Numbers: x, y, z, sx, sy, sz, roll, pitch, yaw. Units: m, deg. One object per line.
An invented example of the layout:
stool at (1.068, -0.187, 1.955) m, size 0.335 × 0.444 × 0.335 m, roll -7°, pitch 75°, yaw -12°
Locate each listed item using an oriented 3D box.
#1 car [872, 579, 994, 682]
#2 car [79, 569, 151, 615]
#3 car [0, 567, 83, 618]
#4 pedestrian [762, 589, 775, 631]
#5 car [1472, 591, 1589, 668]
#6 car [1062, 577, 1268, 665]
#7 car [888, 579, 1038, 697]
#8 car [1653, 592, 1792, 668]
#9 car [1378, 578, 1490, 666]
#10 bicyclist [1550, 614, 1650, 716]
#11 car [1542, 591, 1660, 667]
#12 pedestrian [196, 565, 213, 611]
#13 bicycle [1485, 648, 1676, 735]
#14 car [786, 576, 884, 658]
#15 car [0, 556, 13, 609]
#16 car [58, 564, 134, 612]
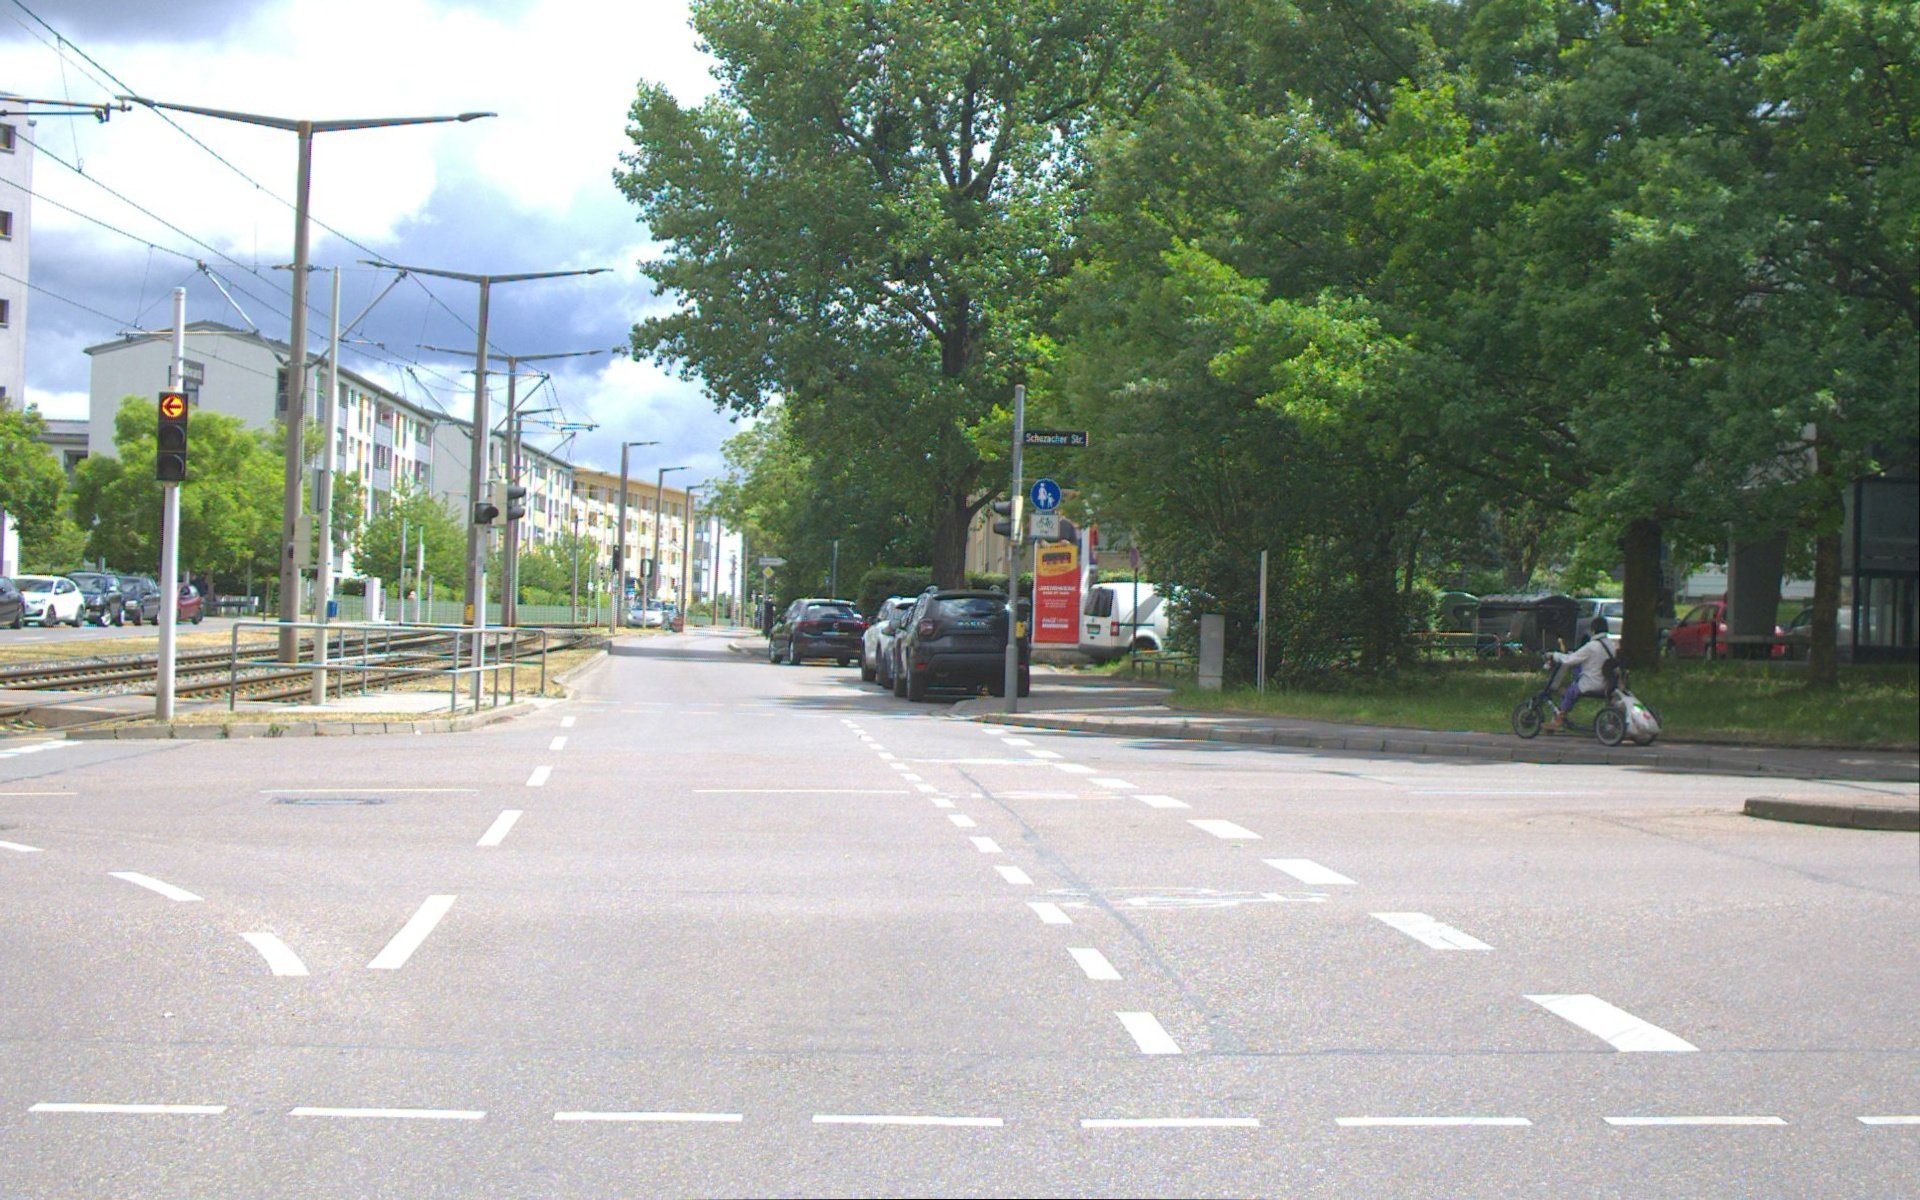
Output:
car at (-0.470, 0.521, 59.257) m, size 1.993 × 1.678 × 4.000 m, roll 1°, pitch 0°, yaw -1°
car at (-26.939, -0.277, 109.649) m, size 1.760 × 1.390 × 4.001 m, roll 1°, pitch 1°, yaw -7°
car at (-26.302, -0.228, 98.492) m, size 1.760 × 1.390 × 4.001 m, roll 1°, pitch 1°, yaw -7°
pedestrian at (-7.552, 0.389, 135.709) m, size 0.478 × 1.631 × 0.454 m, roll 1°, pitch 1°, yaw -1°
car at (12.467, 0.630, 75.296) m, size 1.630 × 1.567 × 4.033 m, roll 1°, pitch 1°, yaw -4°
car at (4.365, 0.447, 73.334) m, size 3.986 × 1.817 × 1.779 m, roll 1°, pitch 1°, yaw -23°
car at (0.020, 0.559, 51.810) m, size 2.152 × 1.678 × 4.000 m, roll 1°, pitch 0°, yaw -1°
car at (17.054, 0.653, 77.031) m, size 1.730 × 1.589 × 4.001 m, roll 1°, pitch 1°, yaw -8°
car at (10.275, 0.458, 74.754) m, size 1.630 × 1.804 × 4.033 m, roll 1°, pitch 1°, yaw -4°
bicyclist at (6.596, 0.661, 35.419) m, size 0.792 × 1.019 × 0.636 m, roll 1°, pitch 1°, yaw -43°
car at (14.250, 0.620, 76.622) m, size 1.630 × 1.589 × 4.001 m, roll 1°, pitch 1°, yaw -4°
pedestrian at (-27.025, -0.440, 122.957) m, size 0.453 × 1.631 × 0.480 m, roll 1°, pitch 1°, yaw 4°
bicycle at (6.400, 0.933, 35.528) m, size 0.792 × 0.816 × 1.807 m, roll 1°, pitch 1°, yaw -43°
car at (-2.672, 0.345, 74.484) m, size 1.993 × 1.678 × 4.000 m, roll 1°, pitch 1°, yaw -1°
car at (-26.308, -0.465, 91.088) m, size 1.760 × 1.390 × 4.001 m, roll 1°, pitch 1°, yaw -7°
car at (-26.380, -0.371, 105.084) m, size 1.760 × 1.390 × 4.001 m, roll 1°, pitch 1°, yaw -7°
